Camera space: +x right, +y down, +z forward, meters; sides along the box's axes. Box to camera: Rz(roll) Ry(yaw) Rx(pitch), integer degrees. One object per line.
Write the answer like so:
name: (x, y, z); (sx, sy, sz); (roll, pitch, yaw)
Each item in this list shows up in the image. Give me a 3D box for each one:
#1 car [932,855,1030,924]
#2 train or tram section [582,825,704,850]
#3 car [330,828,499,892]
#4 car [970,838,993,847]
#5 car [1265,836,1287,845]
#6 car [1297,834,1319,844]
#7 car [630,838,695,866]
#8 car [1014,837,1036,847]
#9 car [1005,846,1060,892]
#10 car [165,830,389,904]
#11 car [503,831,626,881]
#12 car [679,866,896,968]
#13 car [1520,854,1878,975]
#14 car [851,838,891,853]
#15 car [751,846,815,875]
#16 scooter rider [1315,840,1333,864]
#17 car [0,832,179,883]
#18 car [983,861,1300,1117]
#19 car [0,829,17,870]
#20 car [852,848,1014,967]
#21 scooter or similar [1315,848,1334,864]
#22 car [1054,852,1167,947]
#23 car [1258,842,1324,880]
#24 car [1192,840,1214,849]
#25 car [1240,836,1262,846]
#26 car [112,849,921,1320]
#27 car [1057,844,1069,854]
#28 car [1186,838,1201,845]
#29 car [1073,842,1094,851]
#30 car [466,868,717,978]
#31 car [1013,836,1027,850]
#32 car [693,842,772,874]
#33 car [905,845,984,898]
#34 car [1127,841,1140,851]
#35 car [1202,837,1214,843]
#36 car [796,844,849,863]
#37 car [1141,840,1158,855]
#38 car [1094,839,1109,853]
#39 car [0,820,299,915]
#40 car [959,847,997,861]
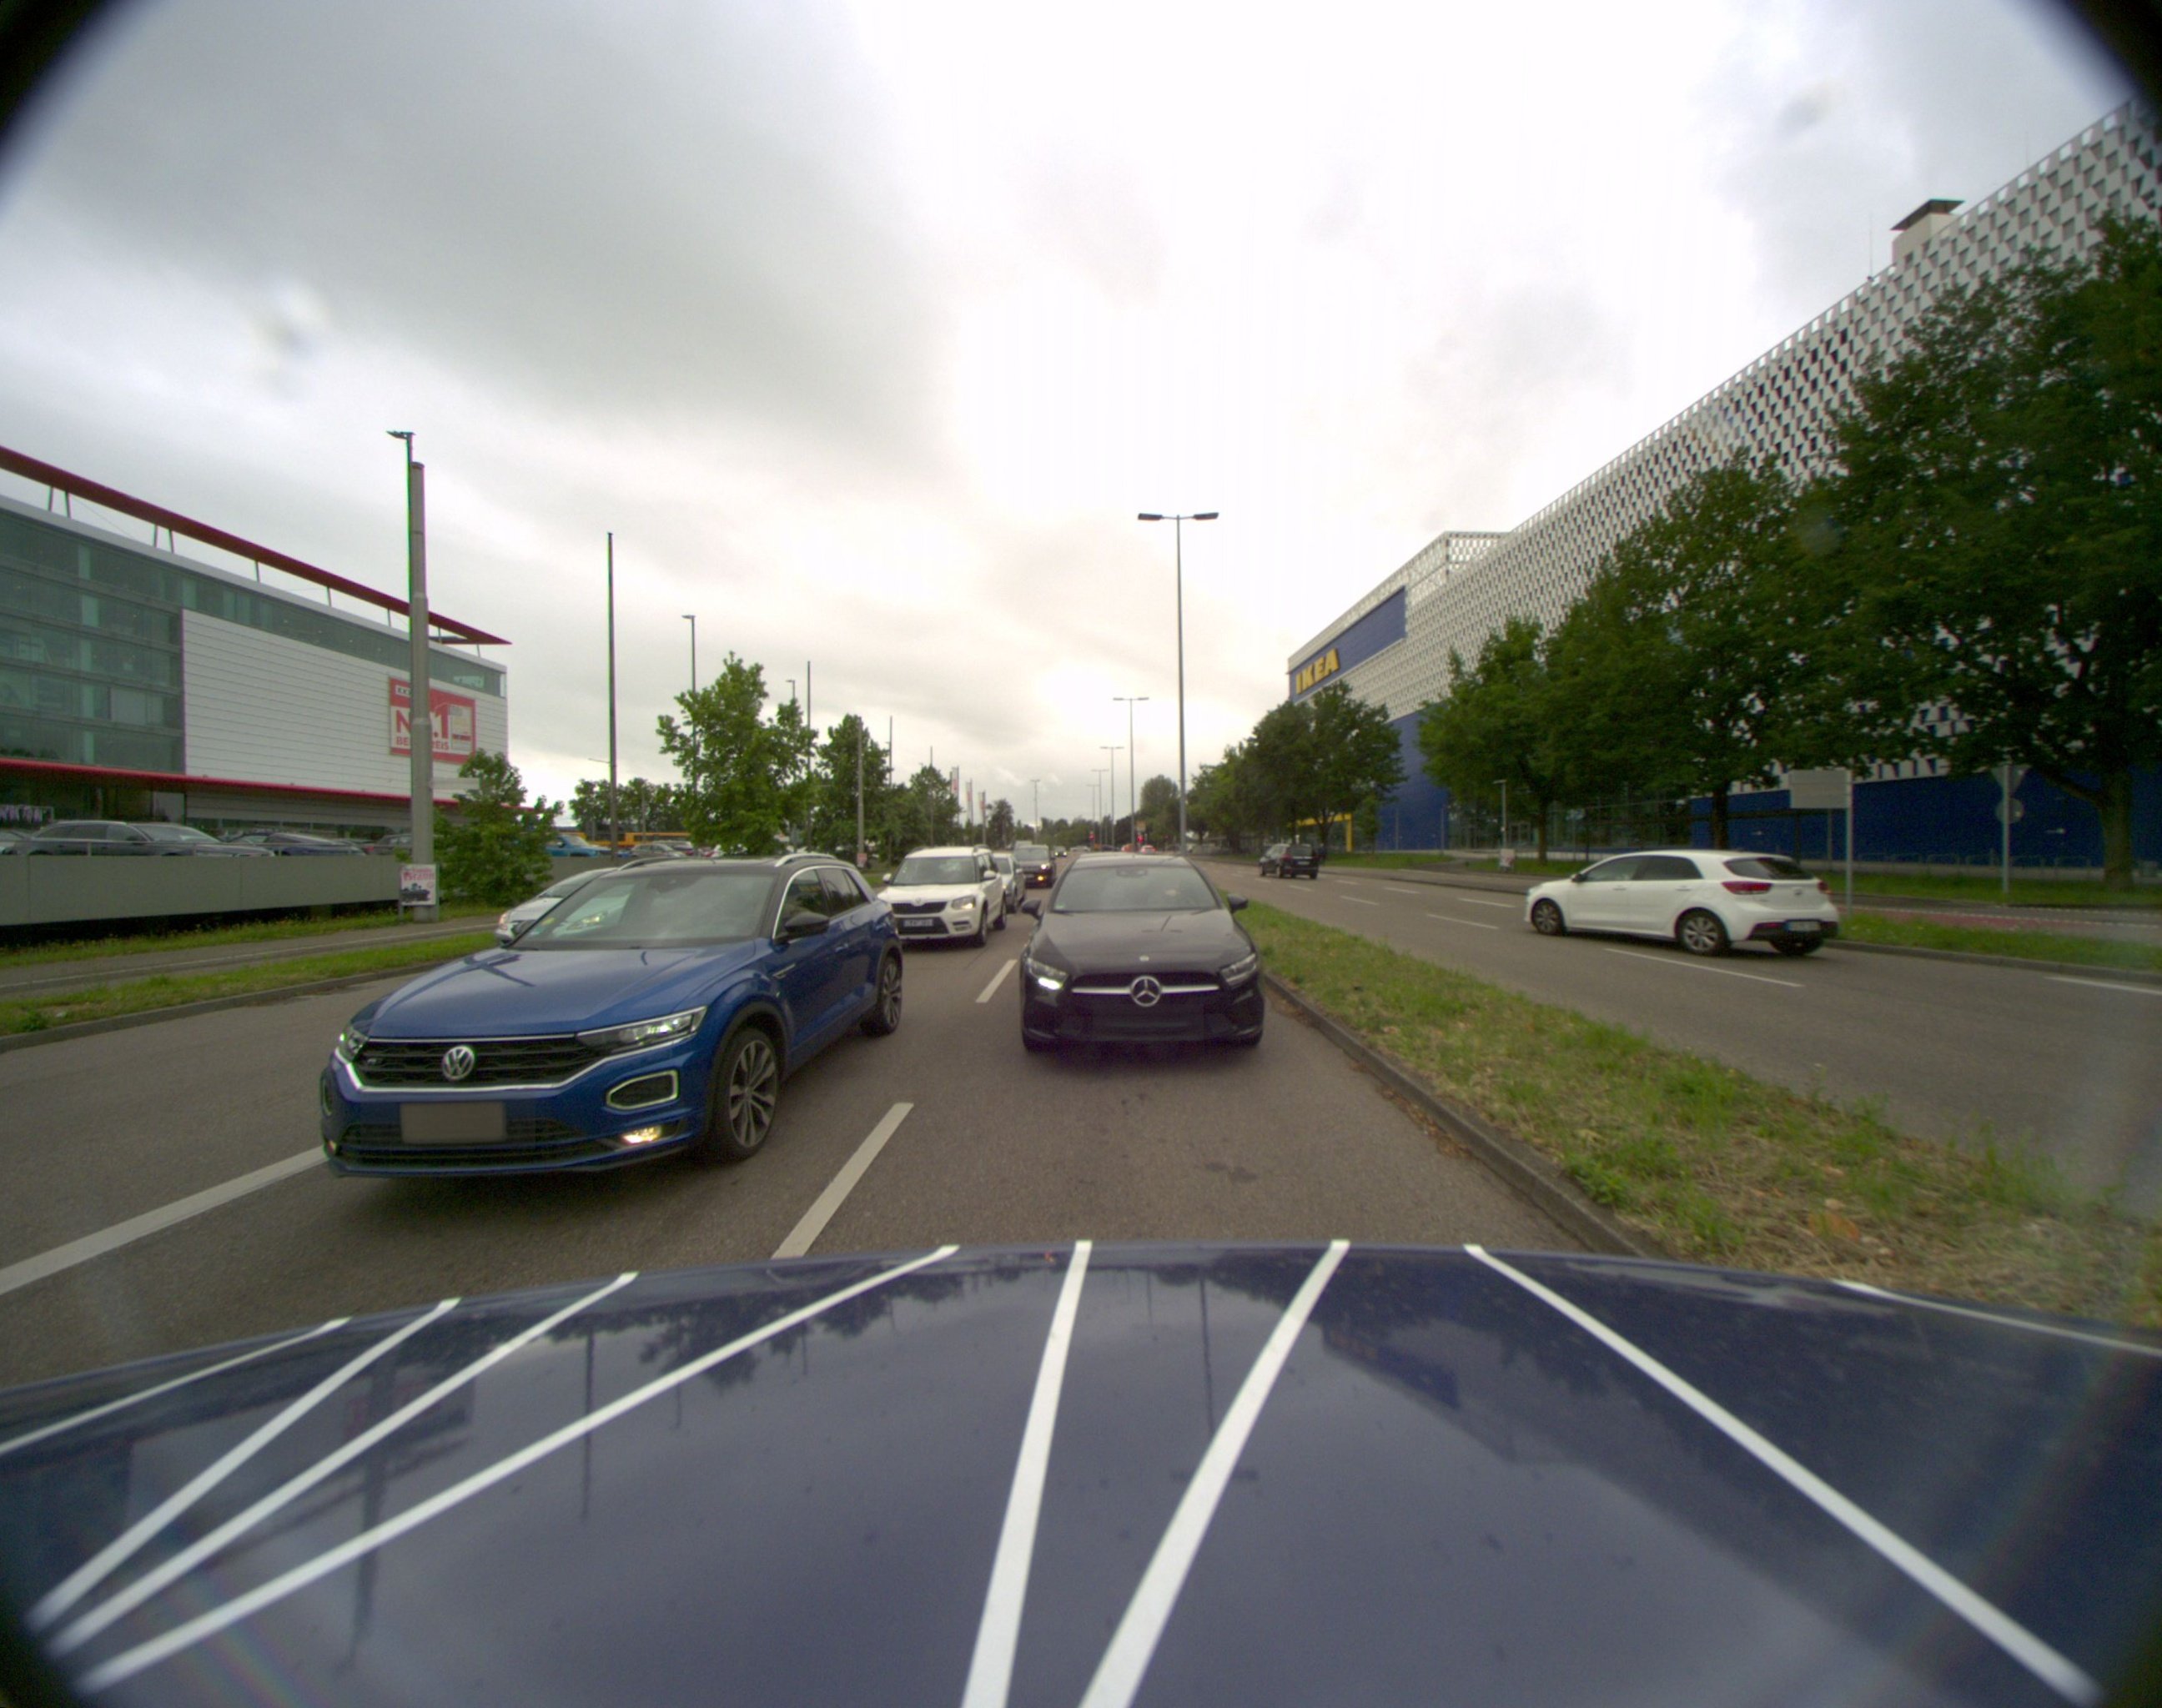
car: (-2.413, 0.813, 19.369); (1.801, 1.408, 4.218); (-2, 1, 1)
train or tram section: (-92.812, -3.466, 161.269); (23.274, 4.811, 3.631); (-1, 2, -3)
car: (-23.329, 0.190, 26.738); (3.997, 2.002, 1.999); (-2, 2, -1)
car: (-23.294, -2.667, 178.457); (5.089, 2.002, 1.999); (-2, 2, -1)
car: (41.481, -2.827, 161.606); (3.999, 1.805, 1.998); (-2, 2, -7)
car: (48.463, -3.223, 162.131); (3.999, 1.805, 1.998); (-2, 2, -7)
car: (-33.497, -0.192, 60.923); (3.997, 2.002, 1.999); (-2, 2, -1)
car: (-13.027, -2.743, 176.775); (4.712, 2.002, 1.997); (-3, 2, -12)
car: (-1.852, 0.526, 30.189); (1.801, 1.565, 4.218); (-2, 1, 1)
car: (-22.523, 0.328, 21.448); (3.998, 1.838, 1.999); (-2, 2, -2)
car: (-22.952, 0.073, 33.882); (3.997, 2.002, 1.999); (-2, 2, -1)
car: (-4.939, 0.968, 13.662); (1.816, 1.402, 4.878); (-2, 0, 2)
car: (8.918, 0.746, 11.472); (1.788, 1.444, 3.928); (0, 1, -12)
car: (-23.702, -0.950, 85.888); (3.997, 1.556, 1.796); (-2, 2, 1)
car: (-22.924, 0.476, 58.589); (3.997, 2.002, 1.999); (-2, 2, 0)
scooter rider: (17.806, -0.175, 55.759); (0.797, 1.710, 1.037); (-2, 2, -16)
car: (-37.775, 0.123, 29.047); (3.998, 1.729, 1.999); (-2, 2, -2)
car: (0.405, 0.838, 6.681); (1.859, 1.426, 4.196); (-2, 0, 1)
car: (-47.839, -0.100, 31.633); (3.998, 1.729, 1.999); (-2, 2, -2)
car: (-2.377, 0.774, 13.382); (1.798, 1.616, 4.374); (-2, 1, 2)
scooter or similar: (17.824, 0.117, 55.728); (0.590, 1.119, 1.423); (-5, 2, -16)
car: (0.515, 0.730, 14.306); (1.767, 1.370, 4.258); (-2, 1, 1)
car: (10.087, 0.282, 36.803); (1.847, 1.646, 4.359); (1, 1, -2)
car: (24.925, -1.927, 155.470); (3.999, 1.786, 1.999); (-1, 1, -5)
car: (31.062, -2.363, 138.686); (3.565, 1.631, 1.743); (-2, 2, -3)
car: (-2.519, 0.842, 4.942); (1.846, 1.613, 4.331); (-2, 1, 2)
car: (-2.835, -0.818, 121.078); (1.801, 1.408, 4.218); (-2, 1, 1)
car: (35.536, -3.993, 240.498); (4.290, 1.813, 1.743); (-2, 2, -3)
car: (0.613, -1.778, 179.019); (4.712, 1.739, 1.997); (-3, 2, -12)
car: (-7.971, 1.027, 12.893); (1.694, 1.364, 3.925); (-2, 1, -1)
car: (-9.723, -1.708, 121.794); (1.999, 2.229, 3.999); (-1, 0, -2)
car: (-23.757, 0.257, 51.901); (4.324, 2.002, 1.999); (-2, 2, -1)
car: (-4.753, 0.567, 27.082); (1.798, 1.616, 4.374); (-2, 1, 2)
car: (9.010, -1.372, 130.754); (1.847, 1.709, 3.923); (-2, 1, -1)
car: (40.159, -4.528, 240.720); (3.565, 1.631, 1.743); (-2, 2, -3)
car: (-23.252, -0.065, 68.425); (3.997, 1.556, 1.796); (-2, 2, 1)
car: (9.394, -0.944, 103.874); (1.847, 1.876, 3.923); (-2, 1, -1)
car: (3.225, -1.289, 120.603); (1.999, 2.207, 3.999); (-1, 0, -2)
car: (-22.407, 0.293, 18.460); (4.529, 2.002, 1.999); (-2, 2, -2)
car: (-12.290, -0.014, 90.990); (4.216, 1.408, 1.802); (-2, 2, 0)
